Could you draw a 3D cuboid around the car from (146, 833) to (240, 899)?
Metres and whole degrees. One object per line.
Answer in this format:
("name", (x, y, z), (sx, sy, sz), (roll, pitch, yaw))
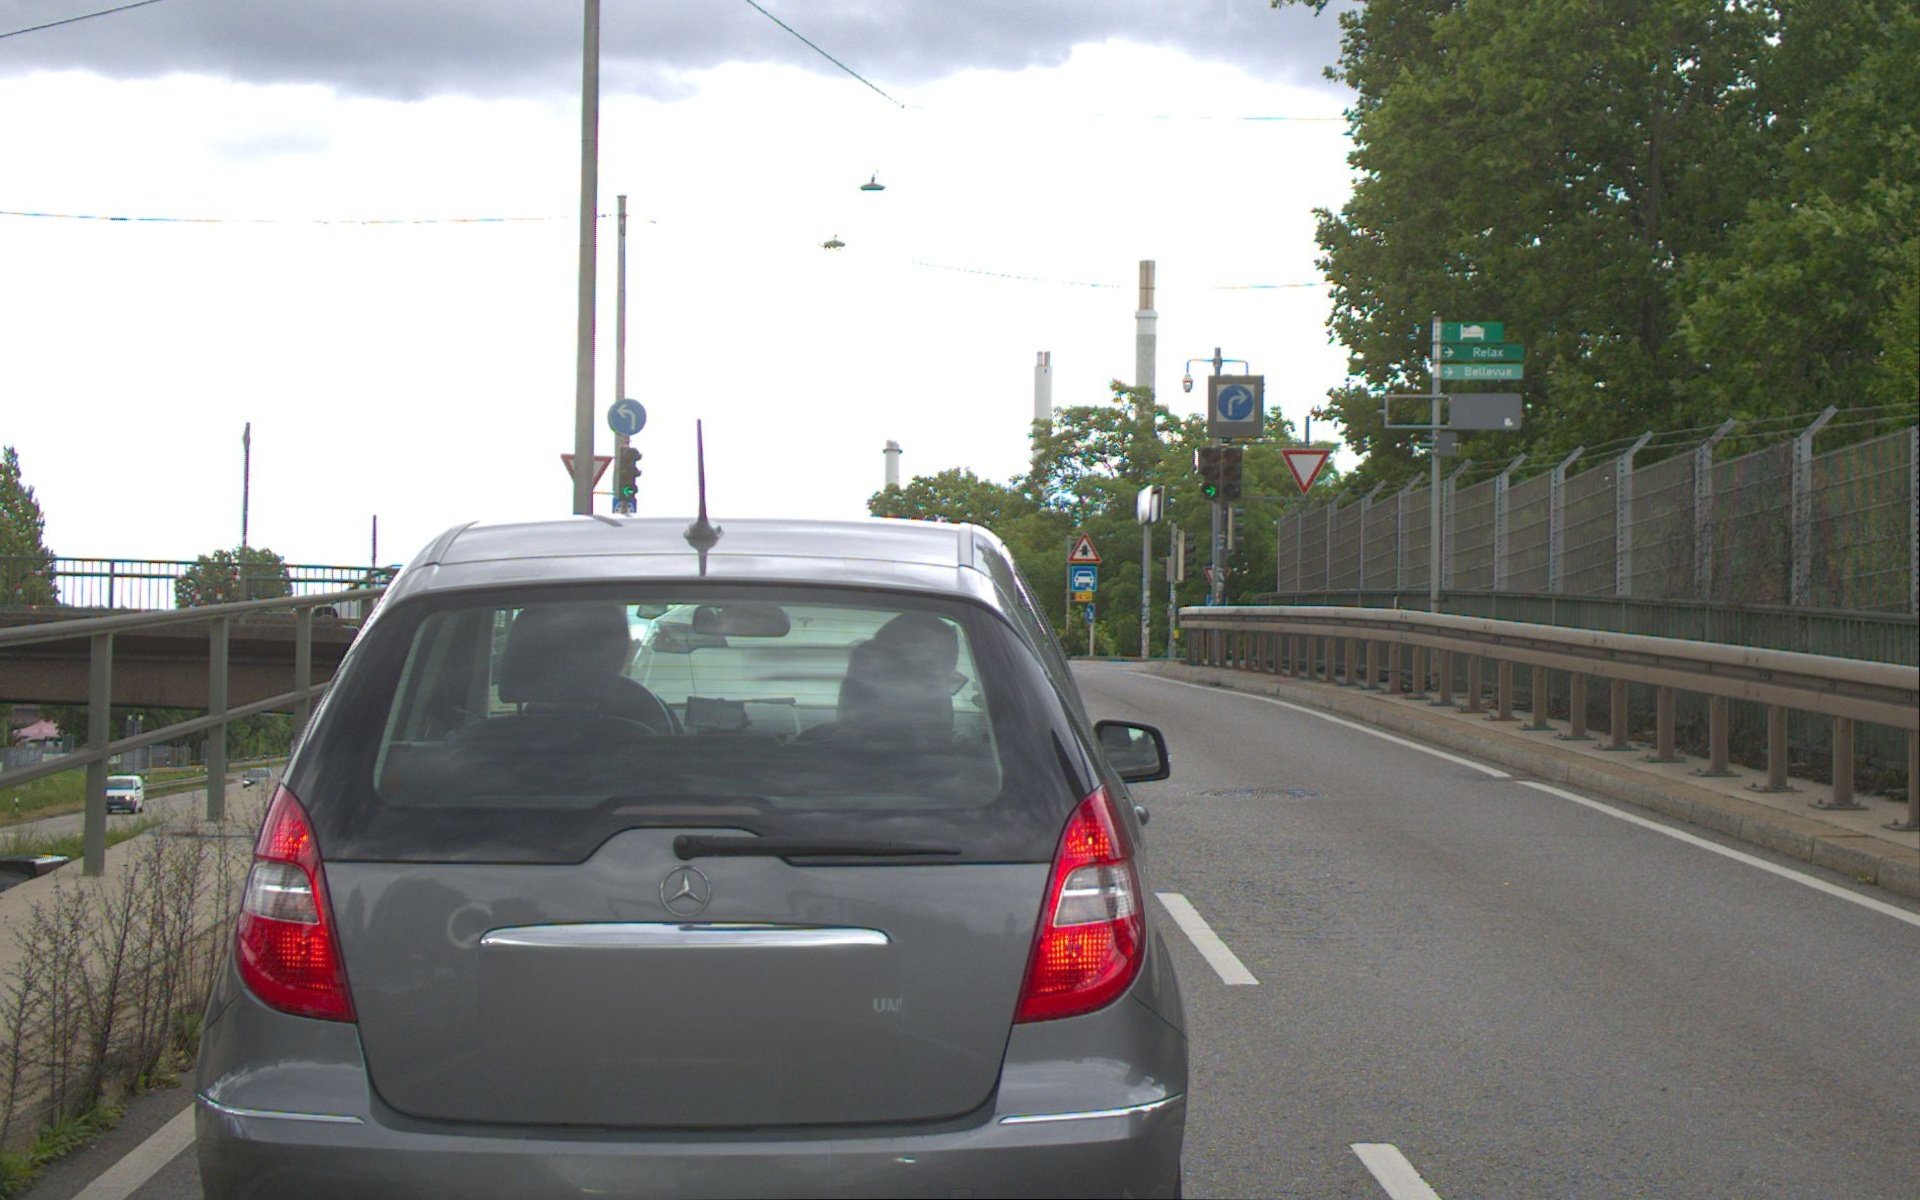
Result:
("car", (-20.903, 7.243, 93.831), (1.898, 1.616, 4.179), (1, -2, -4))

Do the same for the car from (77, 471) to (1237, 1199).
("car", (-0.515, 0.566, 7.558), (1.857, 1.583, 4.000), (1, 1, -1))

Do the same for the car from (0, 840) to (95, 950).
("car", (-19.200, 5.972, 70.083), (1.898, 1.996, 4.958), (1, -2, -1))

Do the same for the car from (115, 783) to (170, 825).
("car", (-43.182, 10.768, 181.707), (1.993, 2.060, 5.177), (1, -2, -4))

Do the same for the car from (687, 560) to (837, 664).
("car", (-3.472, 0.181, 59.606), (1.930, 1.711, 4.001), (1, 1, -13))

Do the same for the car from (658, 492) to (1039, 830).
("car", (-0.654, 0.294, 19.835), (1.931, 1.711, 4.406), (1, 1, -2))

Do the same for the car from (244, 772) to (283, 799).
("car", (-46.506, 12.370, 229.631), (1.915, 1.733, 4.553), (0, -2, -4))

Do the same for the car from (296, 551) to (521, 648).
("car", (-11.142, -0.020, 69.389), (4.207, 1.864, 1.996), (1, 1, 33))
